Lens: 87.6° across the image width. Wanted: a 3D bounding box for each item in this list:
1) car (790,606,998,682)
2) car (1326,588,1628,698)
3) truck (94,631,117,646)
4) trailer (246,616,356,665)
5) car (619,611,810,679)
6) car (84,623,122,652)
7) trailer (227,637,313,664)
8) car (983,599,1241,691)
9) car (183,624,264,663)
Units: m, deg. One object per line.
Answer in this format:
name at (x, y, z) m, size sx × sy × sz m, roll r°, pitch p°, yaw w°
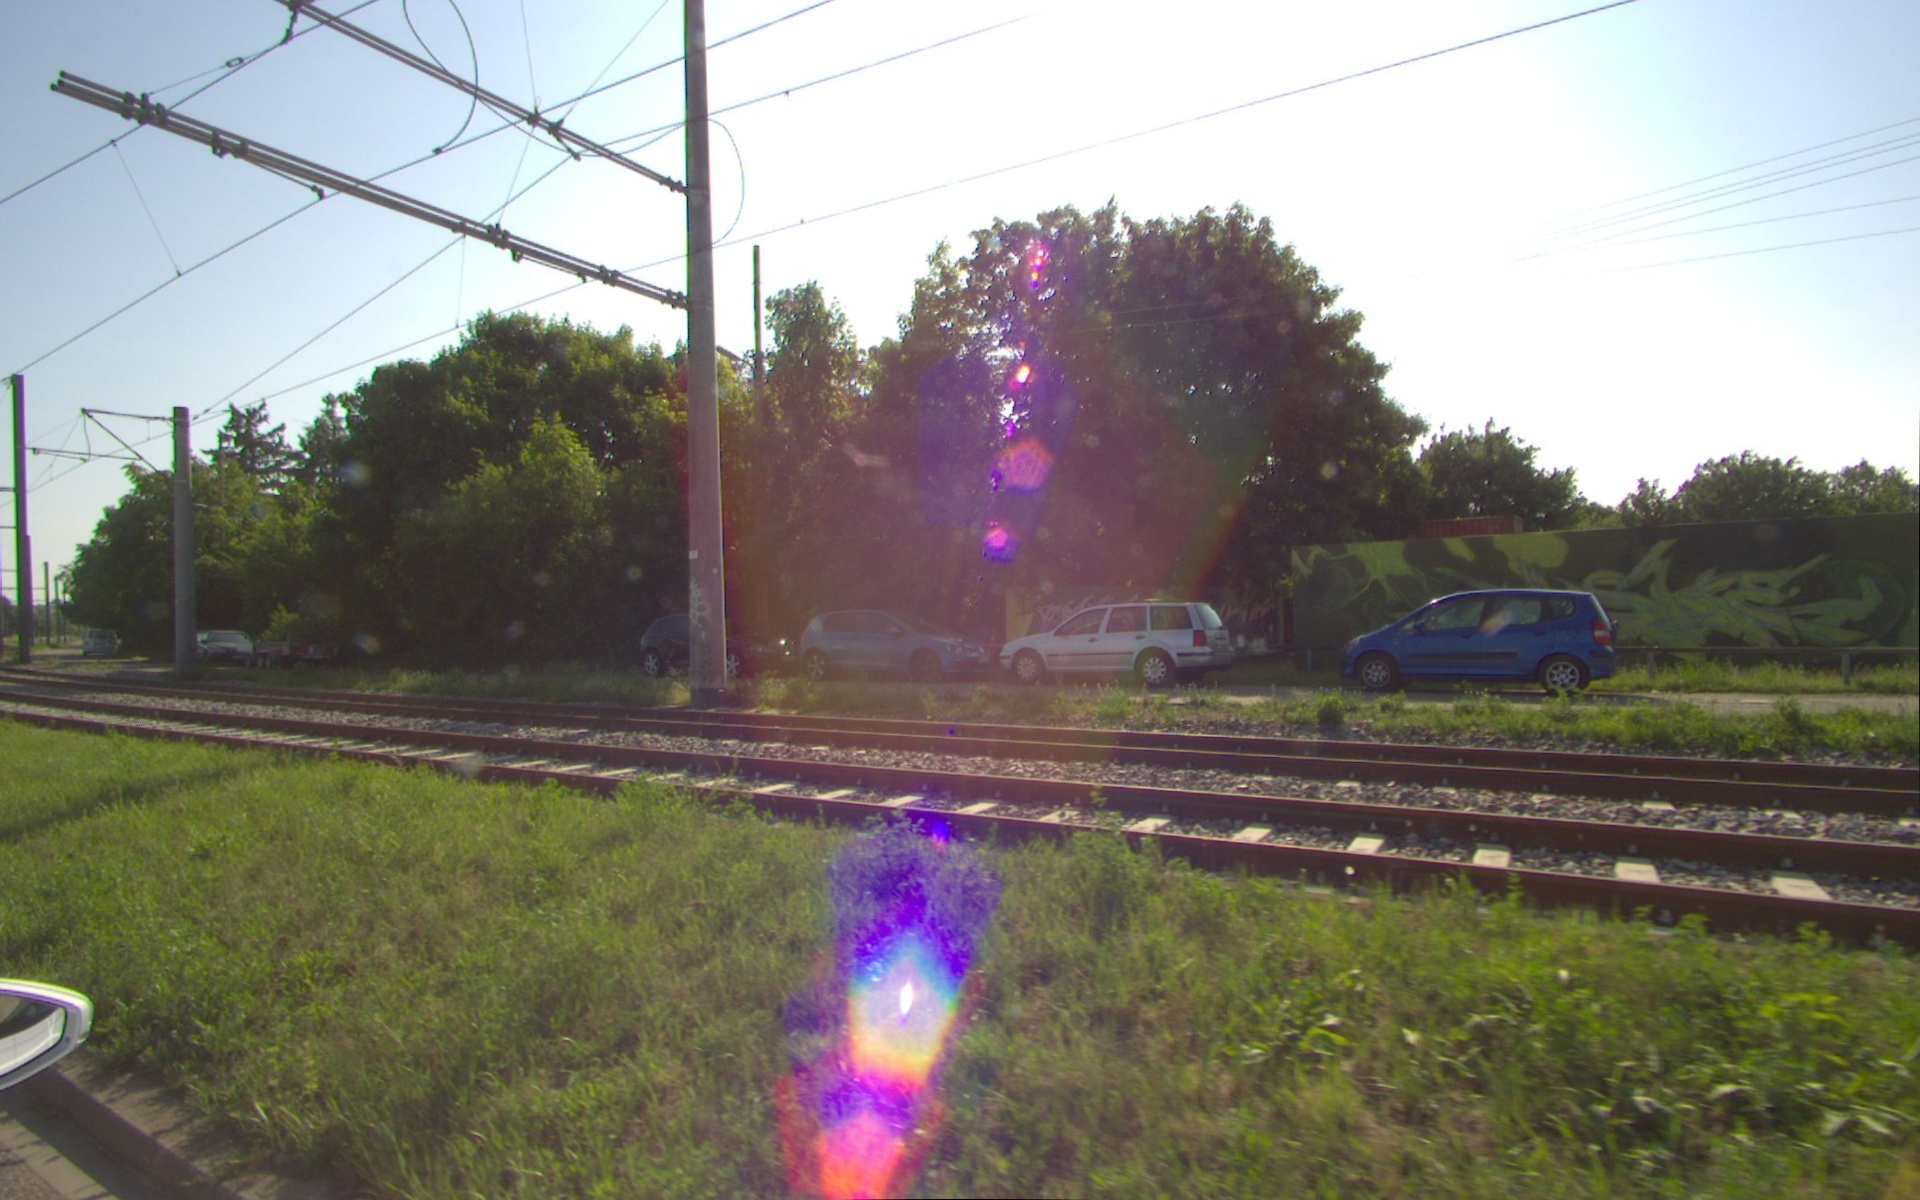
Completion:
car at (-1.378, 0.873, 20.411) m, size 4.086 × 1.419 × 1.483 m, roll -1°, pitch 0°, yaw 29°
car at (7.682, 0.626, 15.003) m, size 3.859 × 1.448 × 1.674 m, roll -1°, pitch -2°, yaw 35°
truck at (-112.281, 5.094, 131.611) m, size 2.188 × 1.842 × 5.878 m, roll 0°, pitch -1°, yaw -41°
trailer at (-22.922, 1.425, 34.771) m, size 4.209 × 1.616 × 2.019 m, roll -2°, pitch -3°, yaw 39°
car at (-5.694, 1.029, 23.061) m, size 4.456 × 1.428 × 1.620 m, roll -1°, pitch -2°, yaw 31°
car at (-63.828, 2.803, 74.552) m, size 1.980 × 2.029 × 5.022 m, roll 3°, pitch -3°, yaw -42°
trailer at (-25.854, 1.898, 37.492) m, size 3.684 × 0.951 × 1.725 m, roll -2°, pitch -4°, yaw 40°
car at (2.702, 0.757, 18.175) m, size 4.329 × 1.485 × 1.705 m, roll -1°, pitch 0°, yaw 34°
car at (-29.655, 1.742, 40.282) m, size 4.827 × 1.475 × 1.690 m, roll -1°, pitch -3°, yaw 42°
